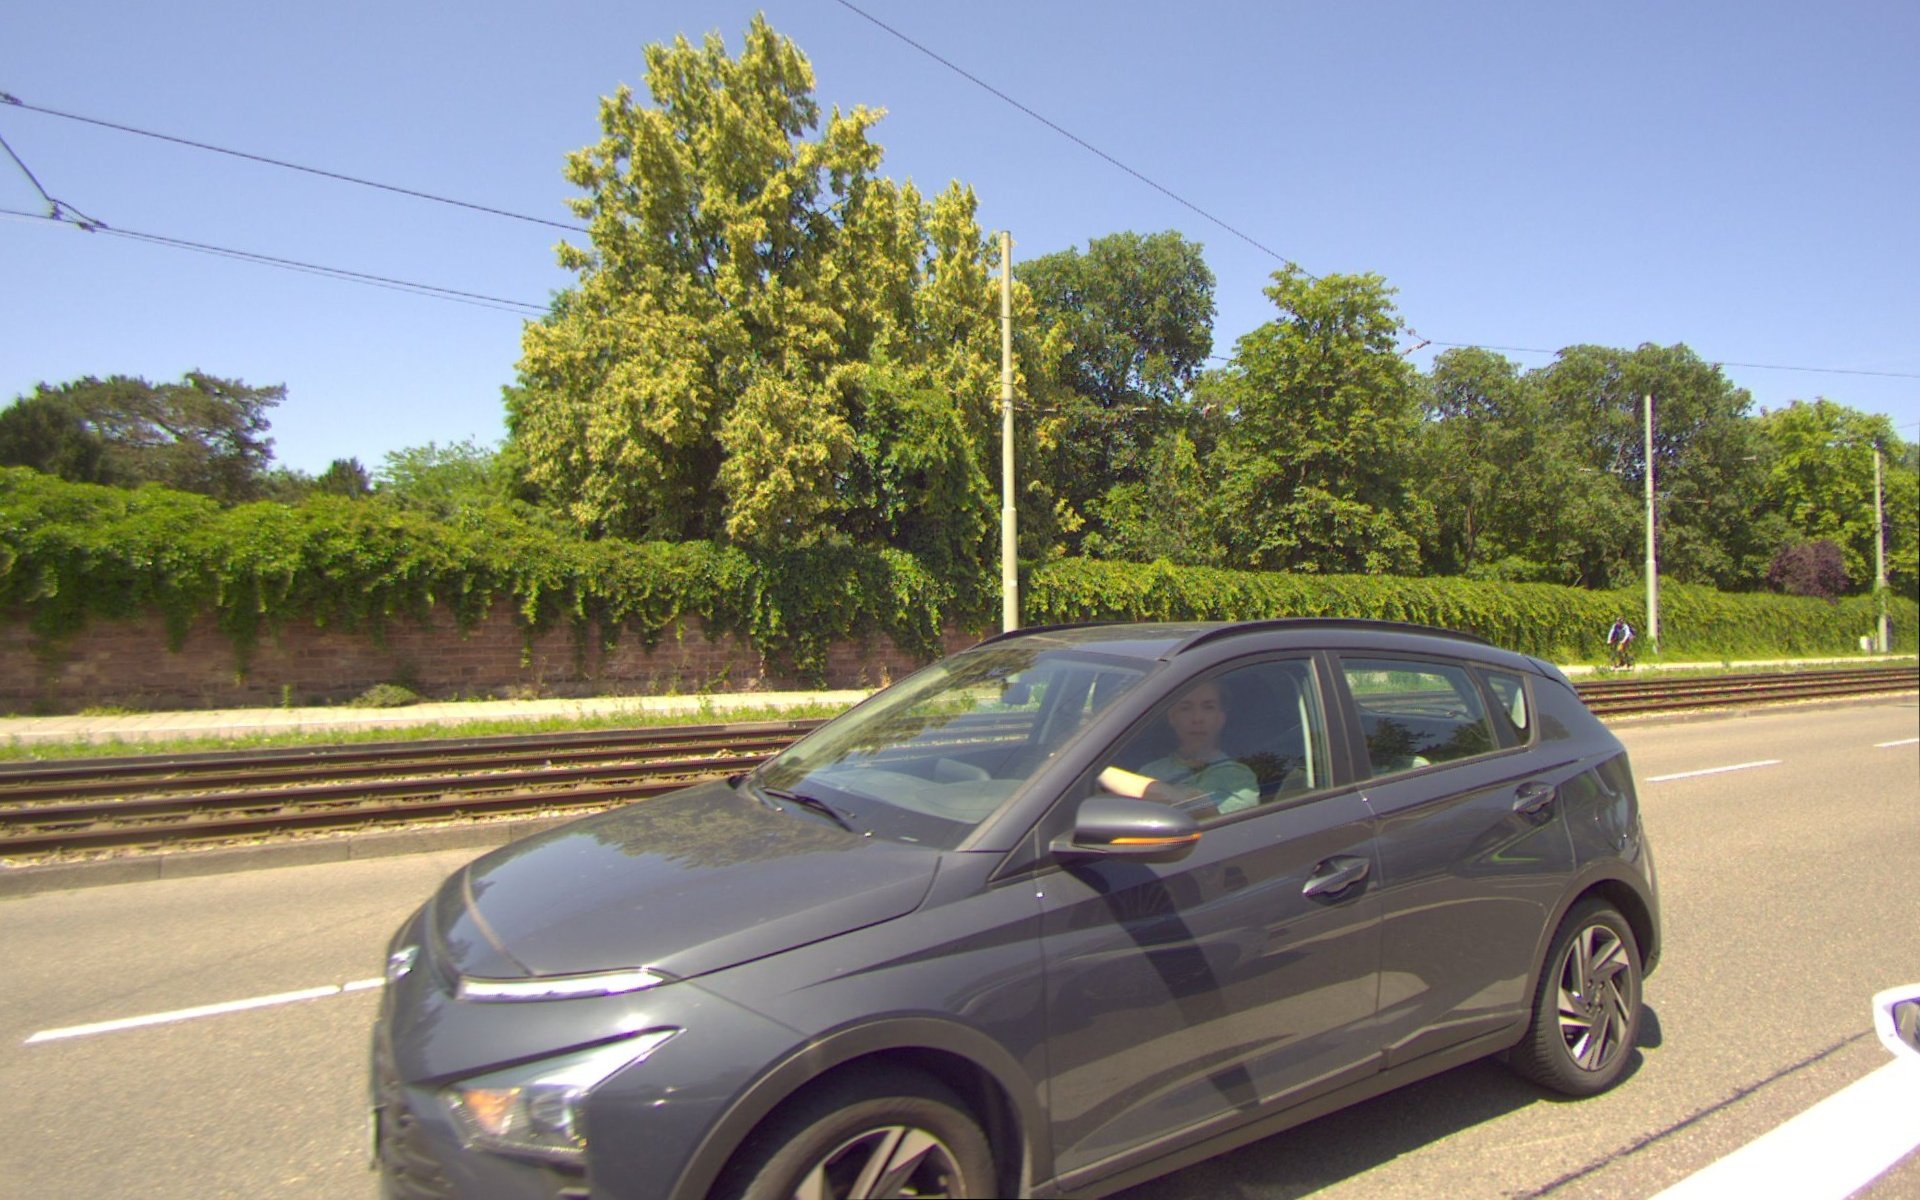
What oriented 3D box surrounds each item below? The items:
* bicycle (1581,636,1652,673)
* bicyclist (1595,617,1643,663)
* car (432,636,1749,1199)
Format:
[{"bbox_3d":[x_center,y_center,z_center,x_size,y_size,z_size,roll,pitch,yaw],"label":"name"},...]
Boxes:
[{"bbox_3d":[21.760,1.792,33.280,2.653,1.171,0.825,1,-1,-30],"label":"bicycle"},{"bbox_3d":[21.898,1.308,33.368,0.988,1.505,0.990,1,-1,-29],"label":"bicyclist"},{"bbox_3d":[0.619,0.852,3.284,4.093,1.440,1.705,1,-2,-30],"label":"car"}]
